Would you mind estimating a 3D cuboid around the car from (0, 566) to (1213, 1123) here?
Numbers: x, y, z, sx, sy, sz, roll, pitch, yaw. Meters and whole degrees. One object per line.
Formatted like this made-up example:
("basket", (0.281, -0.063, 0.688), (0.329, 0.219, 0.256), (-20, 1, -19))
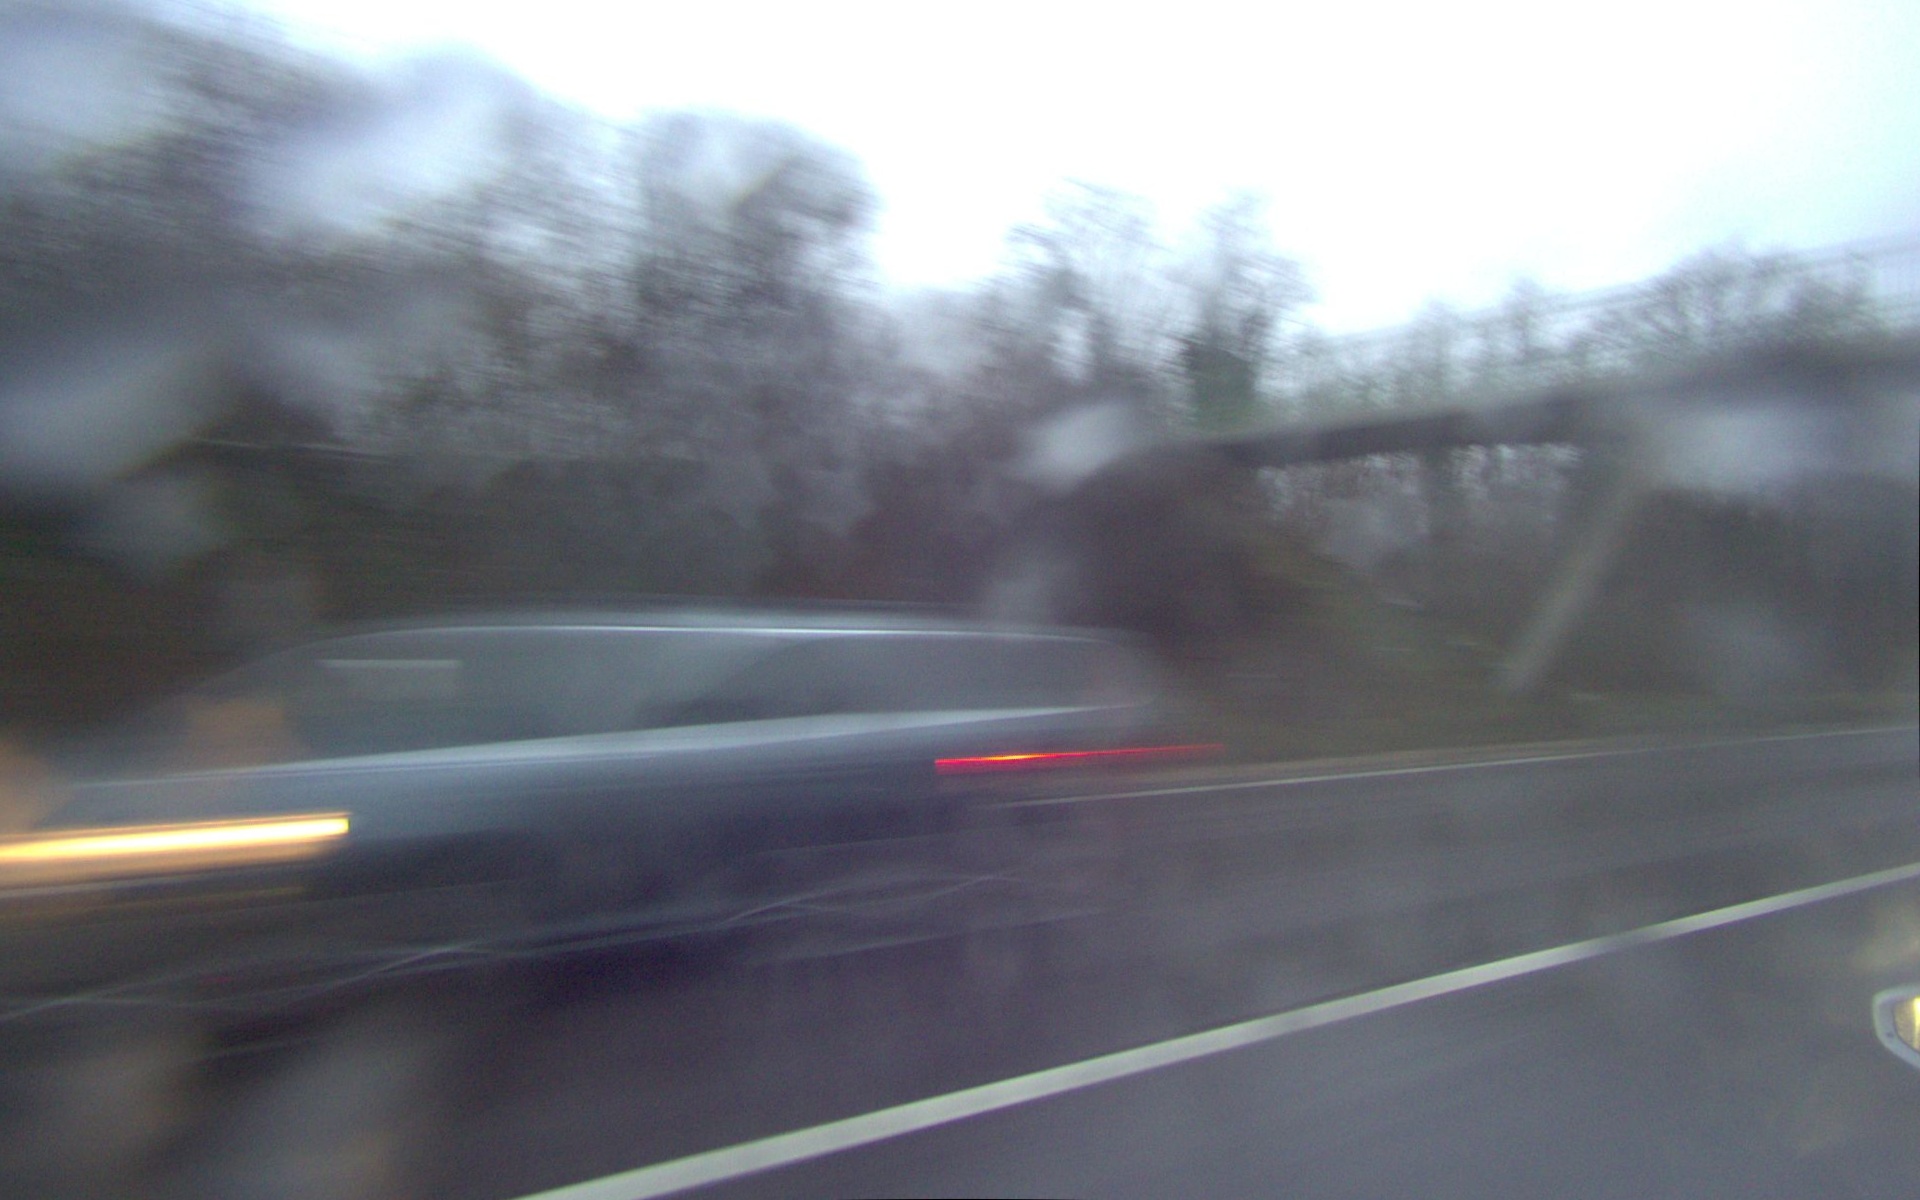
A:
("car", (-1.097, 0.698, 4.538), (4.327, 1.473, 1.795), (2, 0, -30))
